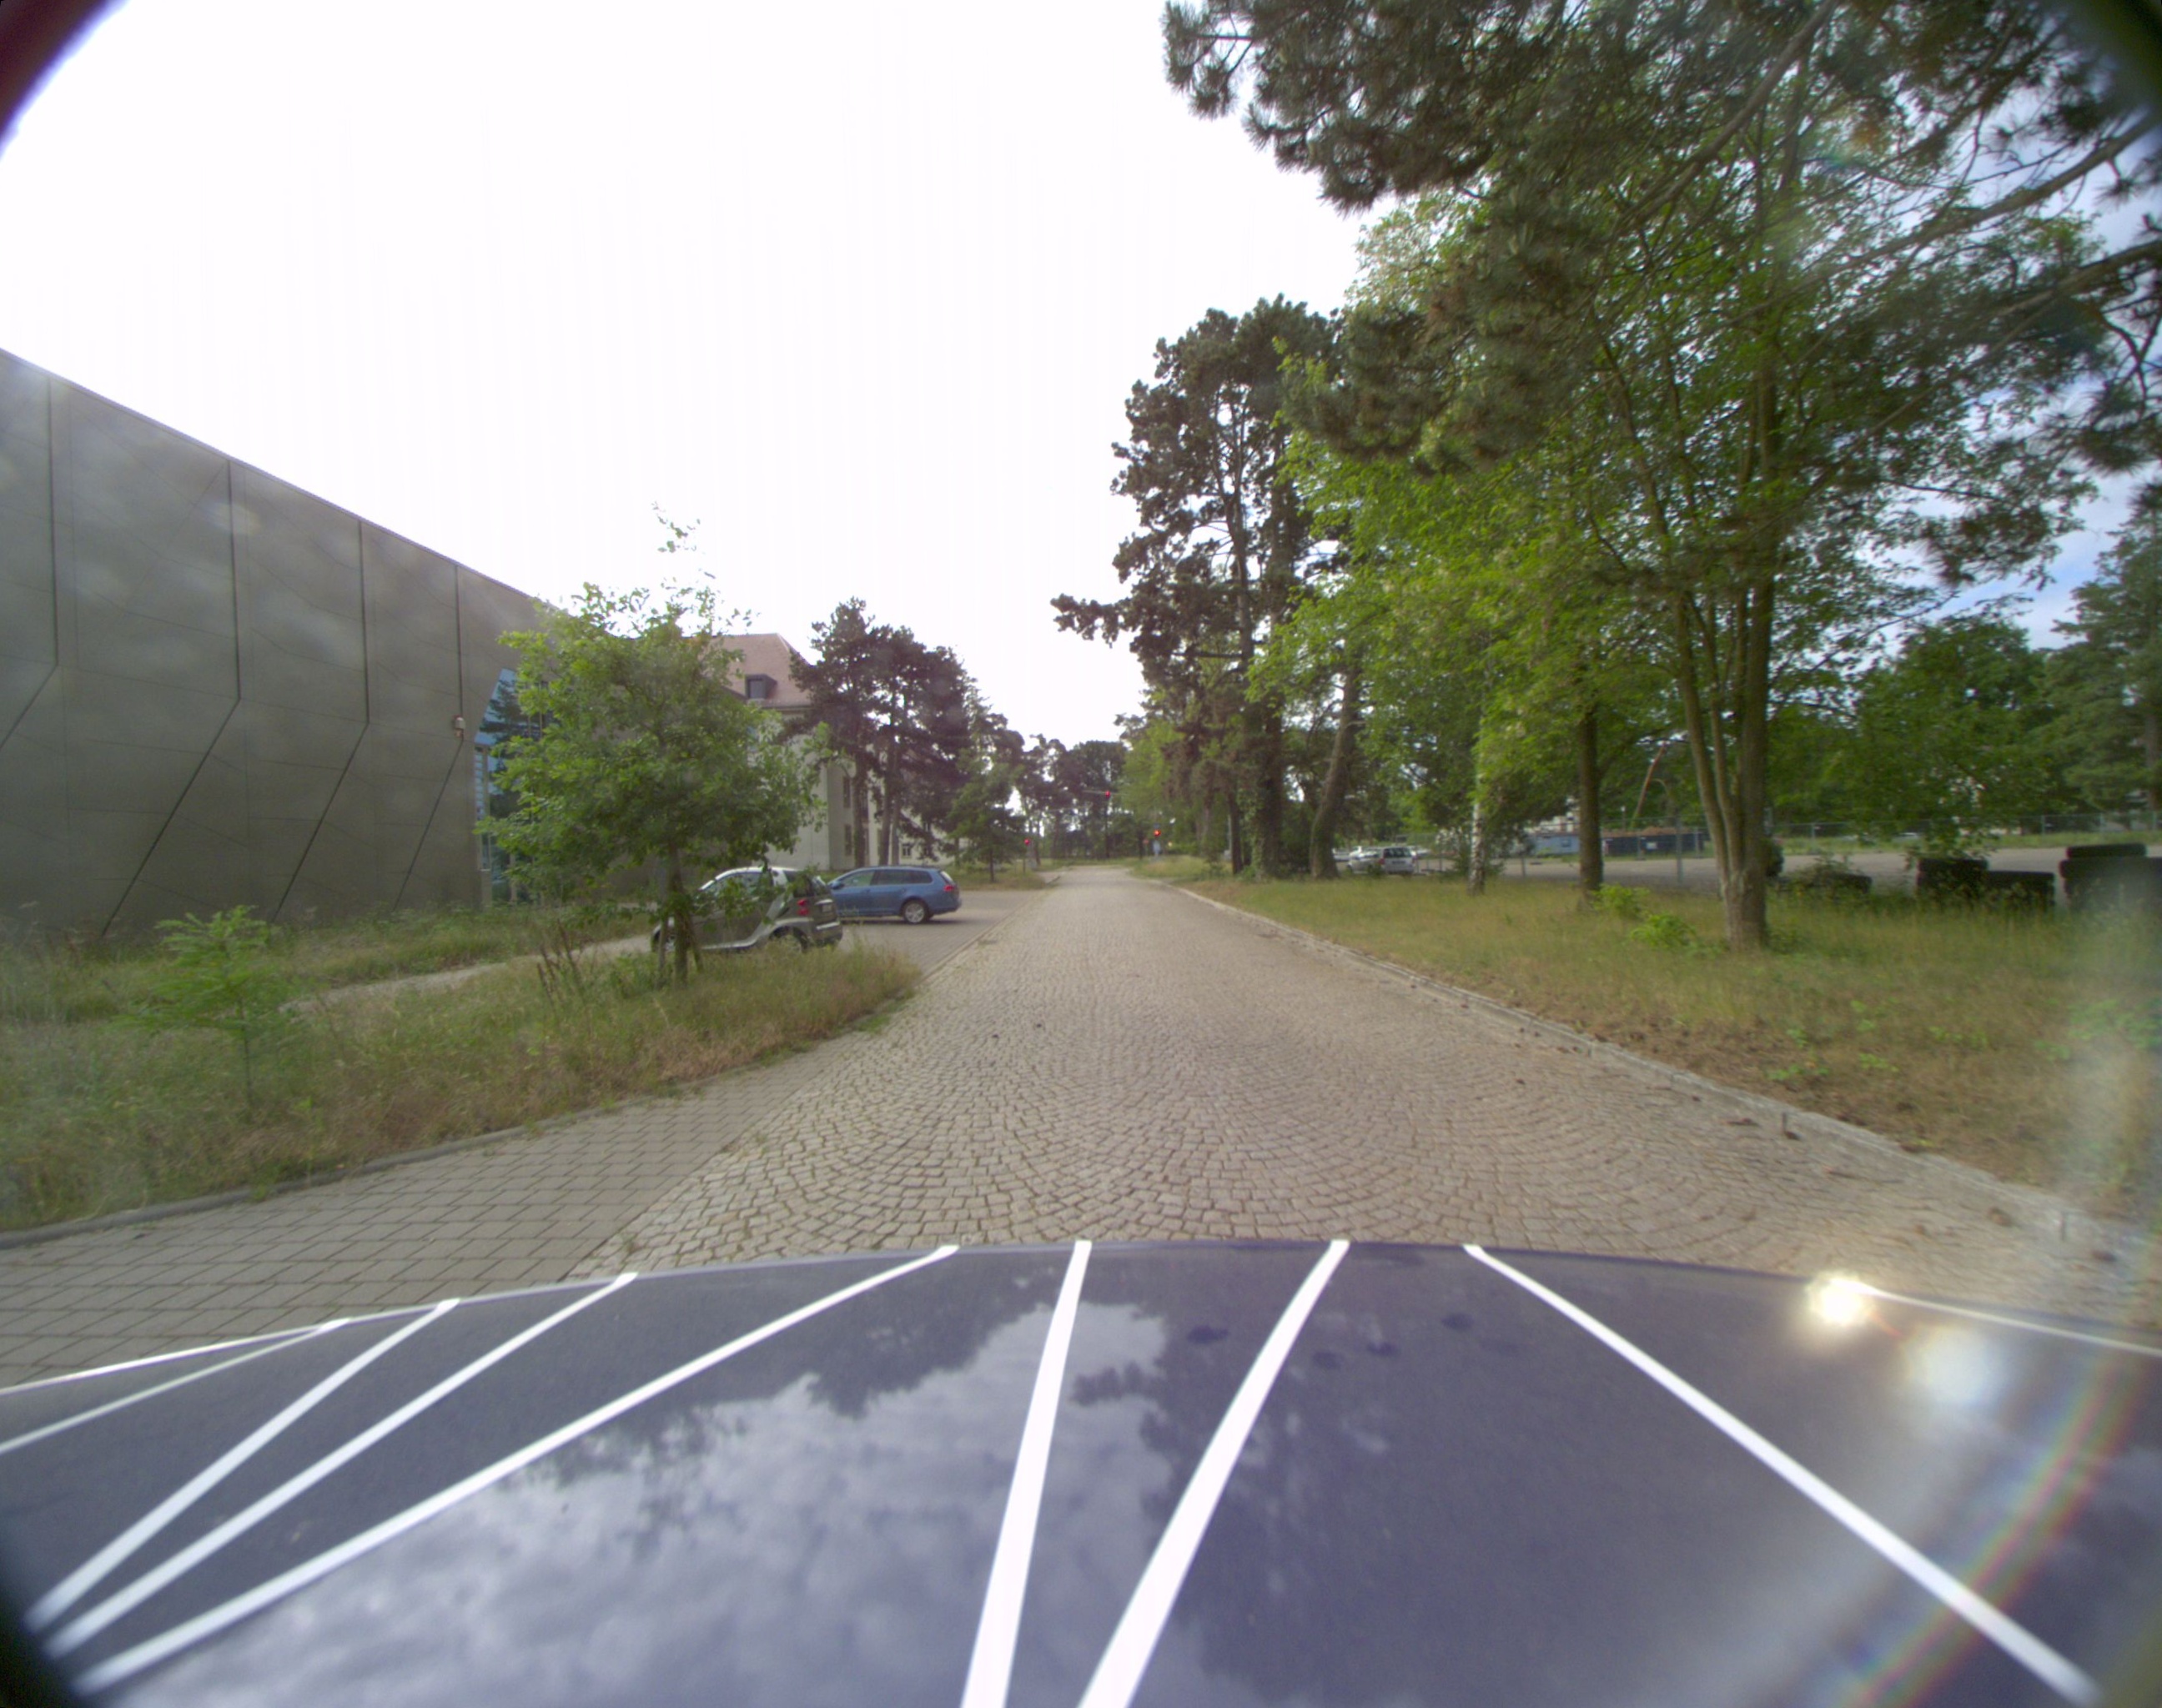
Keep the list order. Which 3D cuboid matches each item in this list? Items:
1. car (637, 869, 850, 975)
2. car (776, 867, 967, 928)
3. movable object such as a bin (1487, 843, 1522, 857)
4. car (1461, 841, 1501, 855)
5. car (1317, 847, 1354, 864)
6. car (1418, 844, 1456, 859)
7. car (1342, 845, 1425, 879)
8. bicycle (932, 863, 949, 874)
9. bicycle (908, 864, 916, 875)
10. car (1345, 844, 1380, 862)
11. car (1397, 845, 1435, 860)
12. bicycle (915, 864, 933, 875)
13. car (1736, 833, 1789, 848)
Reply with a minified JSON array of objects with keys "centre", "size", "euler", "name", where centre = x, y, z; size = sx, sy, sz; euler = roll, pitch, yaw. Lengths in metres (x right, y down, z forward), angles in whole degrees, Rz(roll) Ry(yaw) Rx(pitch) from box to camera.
[{"centre":[-5.391,1.047,12.371],"size":[2.716,1.547,1.654],"euler":[0,0,3],"name":"car"},{"centre":[-5.343,1.095,19.841],"size":[4.503,1.467,1.830],"euler":[0,1,-2],"name":"car"},{"centre":[32.992,-0.304,59.220],"size":[1.447,0.963,1.957],"euler":[-2,0,-7],"name":"movable object such as a bin"},{"centre":[43.633,-0.606,82.985],"size":[1.829,1.466,4.401],"euler":[-2,0,-2],"name":"car"},{"centre":[23.902,0.136,71.435],"size":[1.829,1.417,4.319],"euler":[-2,0,-2],"name":"car"},{"centre":[38.774,-0.276,82.869],"size":[1.829,1.466,4.401],"euler":[-2,0,-2],"name":"car"},{"centre":[13.426,0.350,34.019],"size":[1.829,1.408,4.420],"euler":[0,0,-2],"name":"car"},{"centre":[-14.416,1.500,78.119],"size":[1.656,1.079,0.614],"euler":[-2,0,-3],"name":"bicycle"},{"centre":[-17.673,1.578,79.631],"size":[0.476,1.121,1.656],"euler":[-2,0,0],"name":"bicycle"},{"centre":[26.404,-0.054,71.470],"size":[1.674,1.510,3.899],"euler":[-2,-2,-2],"name":"car"},{"centre":[31.854,-0.148,72.339],"size":[1.637,1.391,4.037],"euler":[-2,0,-2],"name":"car"},{"centre":[-16.116,1.561,77.986],"size":[1.655,1.079,0.615],"euler":[-2,0,2],"name":"bicycle"},{"centre":[74.028,-1.415,82.642],"size":[1.829,1.466,4.402],"euler":[-2,0,0],"name":"car"}]
